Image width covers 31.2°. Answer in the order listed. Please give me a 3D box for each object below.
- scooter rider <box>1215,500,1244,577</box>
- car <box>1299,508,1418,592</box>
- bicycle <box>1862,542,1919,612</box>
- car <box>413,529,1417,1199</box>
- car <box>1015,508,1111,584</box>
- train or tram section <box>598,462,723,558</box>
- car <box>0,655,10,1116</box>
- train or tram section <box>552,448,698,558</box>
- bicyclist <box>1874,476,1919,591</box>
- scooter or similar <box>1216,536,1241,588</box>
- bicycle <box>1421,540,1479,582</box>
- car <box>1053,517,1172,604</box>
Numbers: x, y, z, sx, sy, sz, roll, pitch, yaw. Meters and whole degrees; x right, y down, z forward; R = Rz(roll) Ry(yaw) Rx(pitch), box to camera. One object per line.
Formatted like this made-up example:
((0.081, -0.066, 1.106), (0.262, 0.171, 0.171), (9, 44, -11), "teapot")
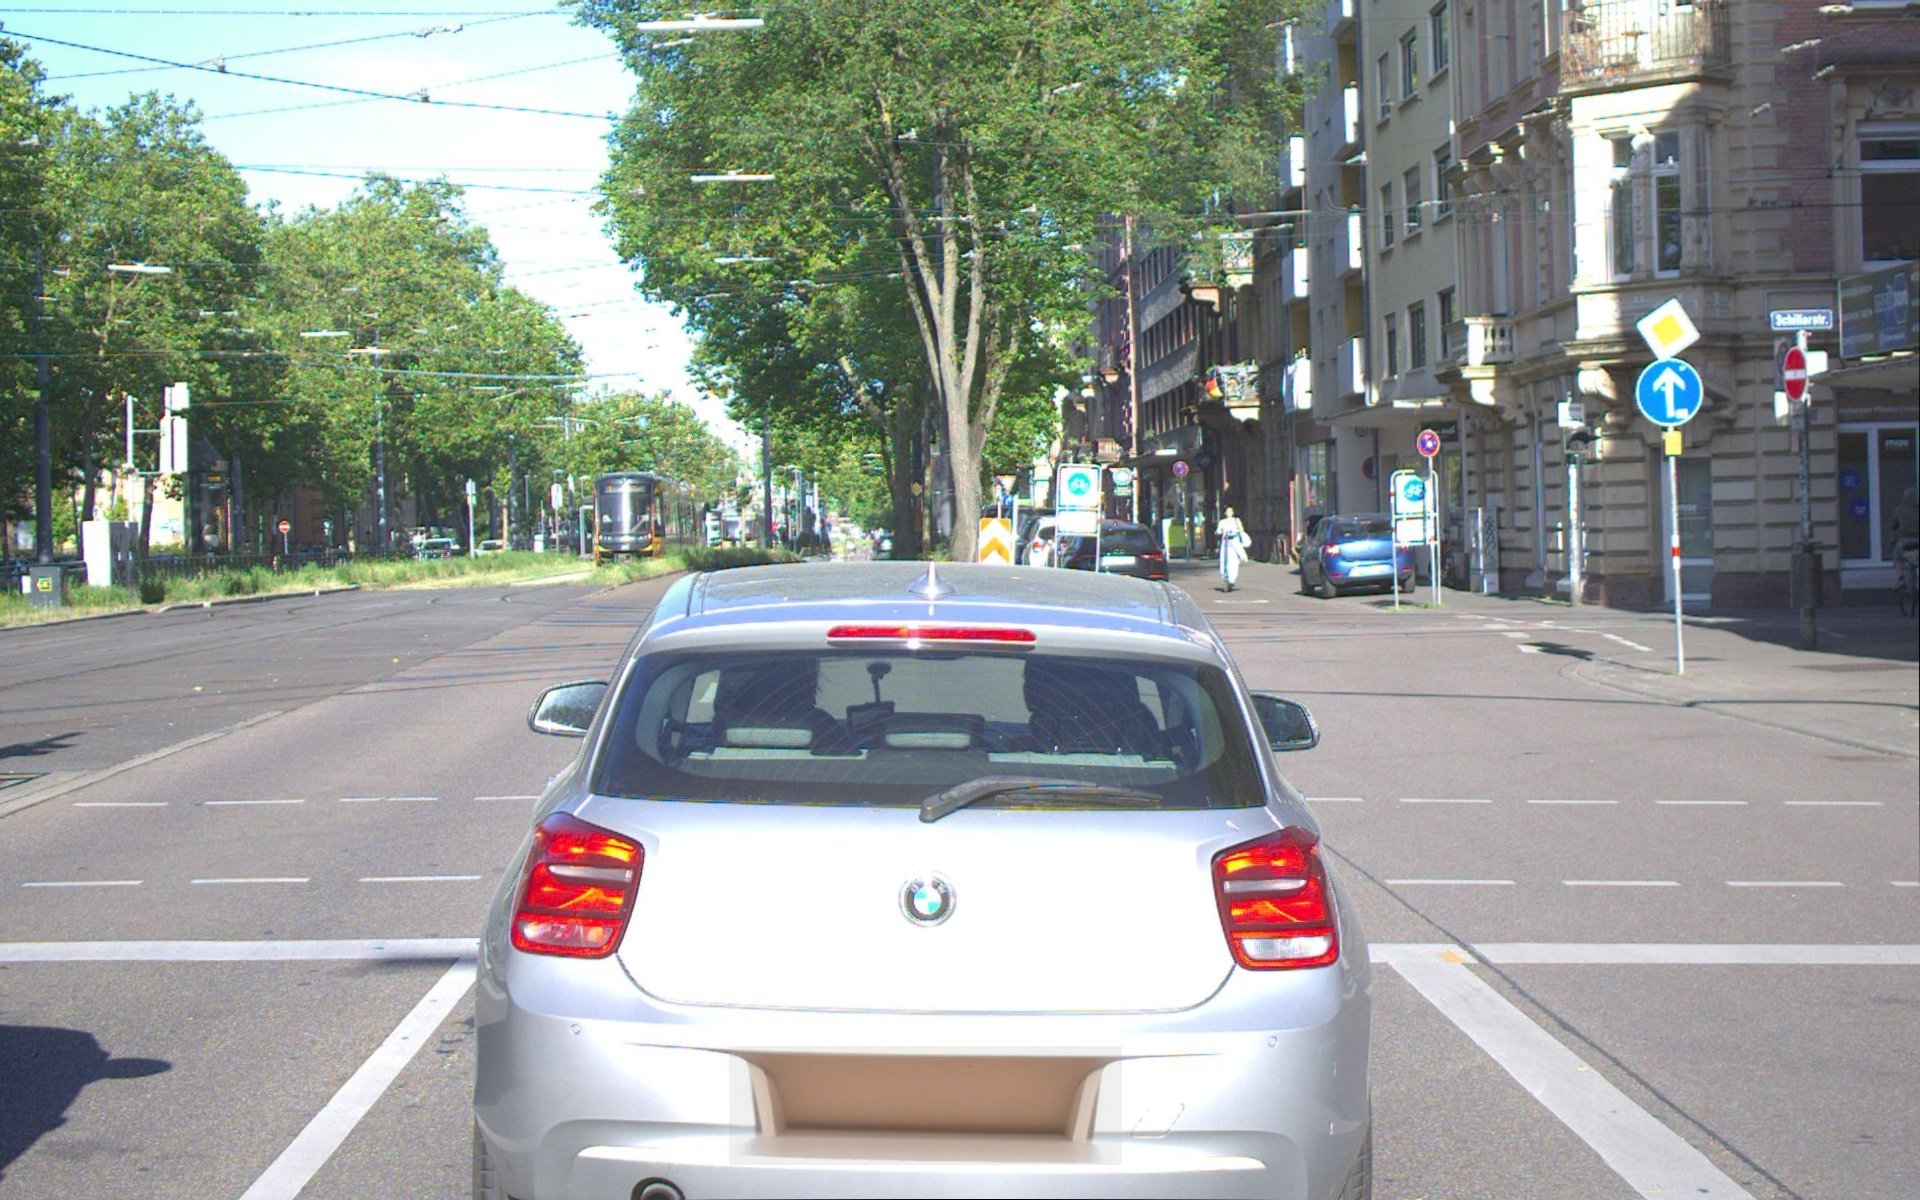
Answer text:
((5.296, -1.216, 67.470), (0.465, 1.500, 0.810), (-1, 1, 10), "scooter rider")
((7.434, -0.953, 64.402), (1.735, 1.514, 3.637), (0, 1, -1), "car")
((12.552, -0.309, 45.488), (0.654, 0.900, 1.335), (1, 2, 41), "bicycle")
((-0.106, 0.586, 8.003), (1.740, 1.462, 4.000), (1, 1, -1), "car")
((2.072, -1.107, 69.865), (1.724, 1.501, 3.555), (0, 1, -2), "car")
((-12.743, -3.877, 148.107), (4.005, 3.852, 17.490), (-1, 2, -1), "train or tram section")
((-3.030, 0.607, 6.612), (1.609, 1.462, 3.891), (-1, 2, -5), "car")
((-12.556, -3.655, 130.708), (3.969, 3.852, 17.490), (-1, 2, -1), "train or tram section")
((12.588, -0.886, 45.514), (0.548, 1.496, 0.959), (0, 2, 41), "bicyclist")
((5.268, -0.751, 67.482), (0.337, 0.984, 1.284), (-1, 2, 11), "scooter or similar")
((9.230, -0.742, 64.827), (0.754, 0.768, 1.946), (-1, 1, -2), "bicycle")
((2.571, -0.700, 58.715), (1.735, 1.428, 3.678), (0, 1, -2), "car")
